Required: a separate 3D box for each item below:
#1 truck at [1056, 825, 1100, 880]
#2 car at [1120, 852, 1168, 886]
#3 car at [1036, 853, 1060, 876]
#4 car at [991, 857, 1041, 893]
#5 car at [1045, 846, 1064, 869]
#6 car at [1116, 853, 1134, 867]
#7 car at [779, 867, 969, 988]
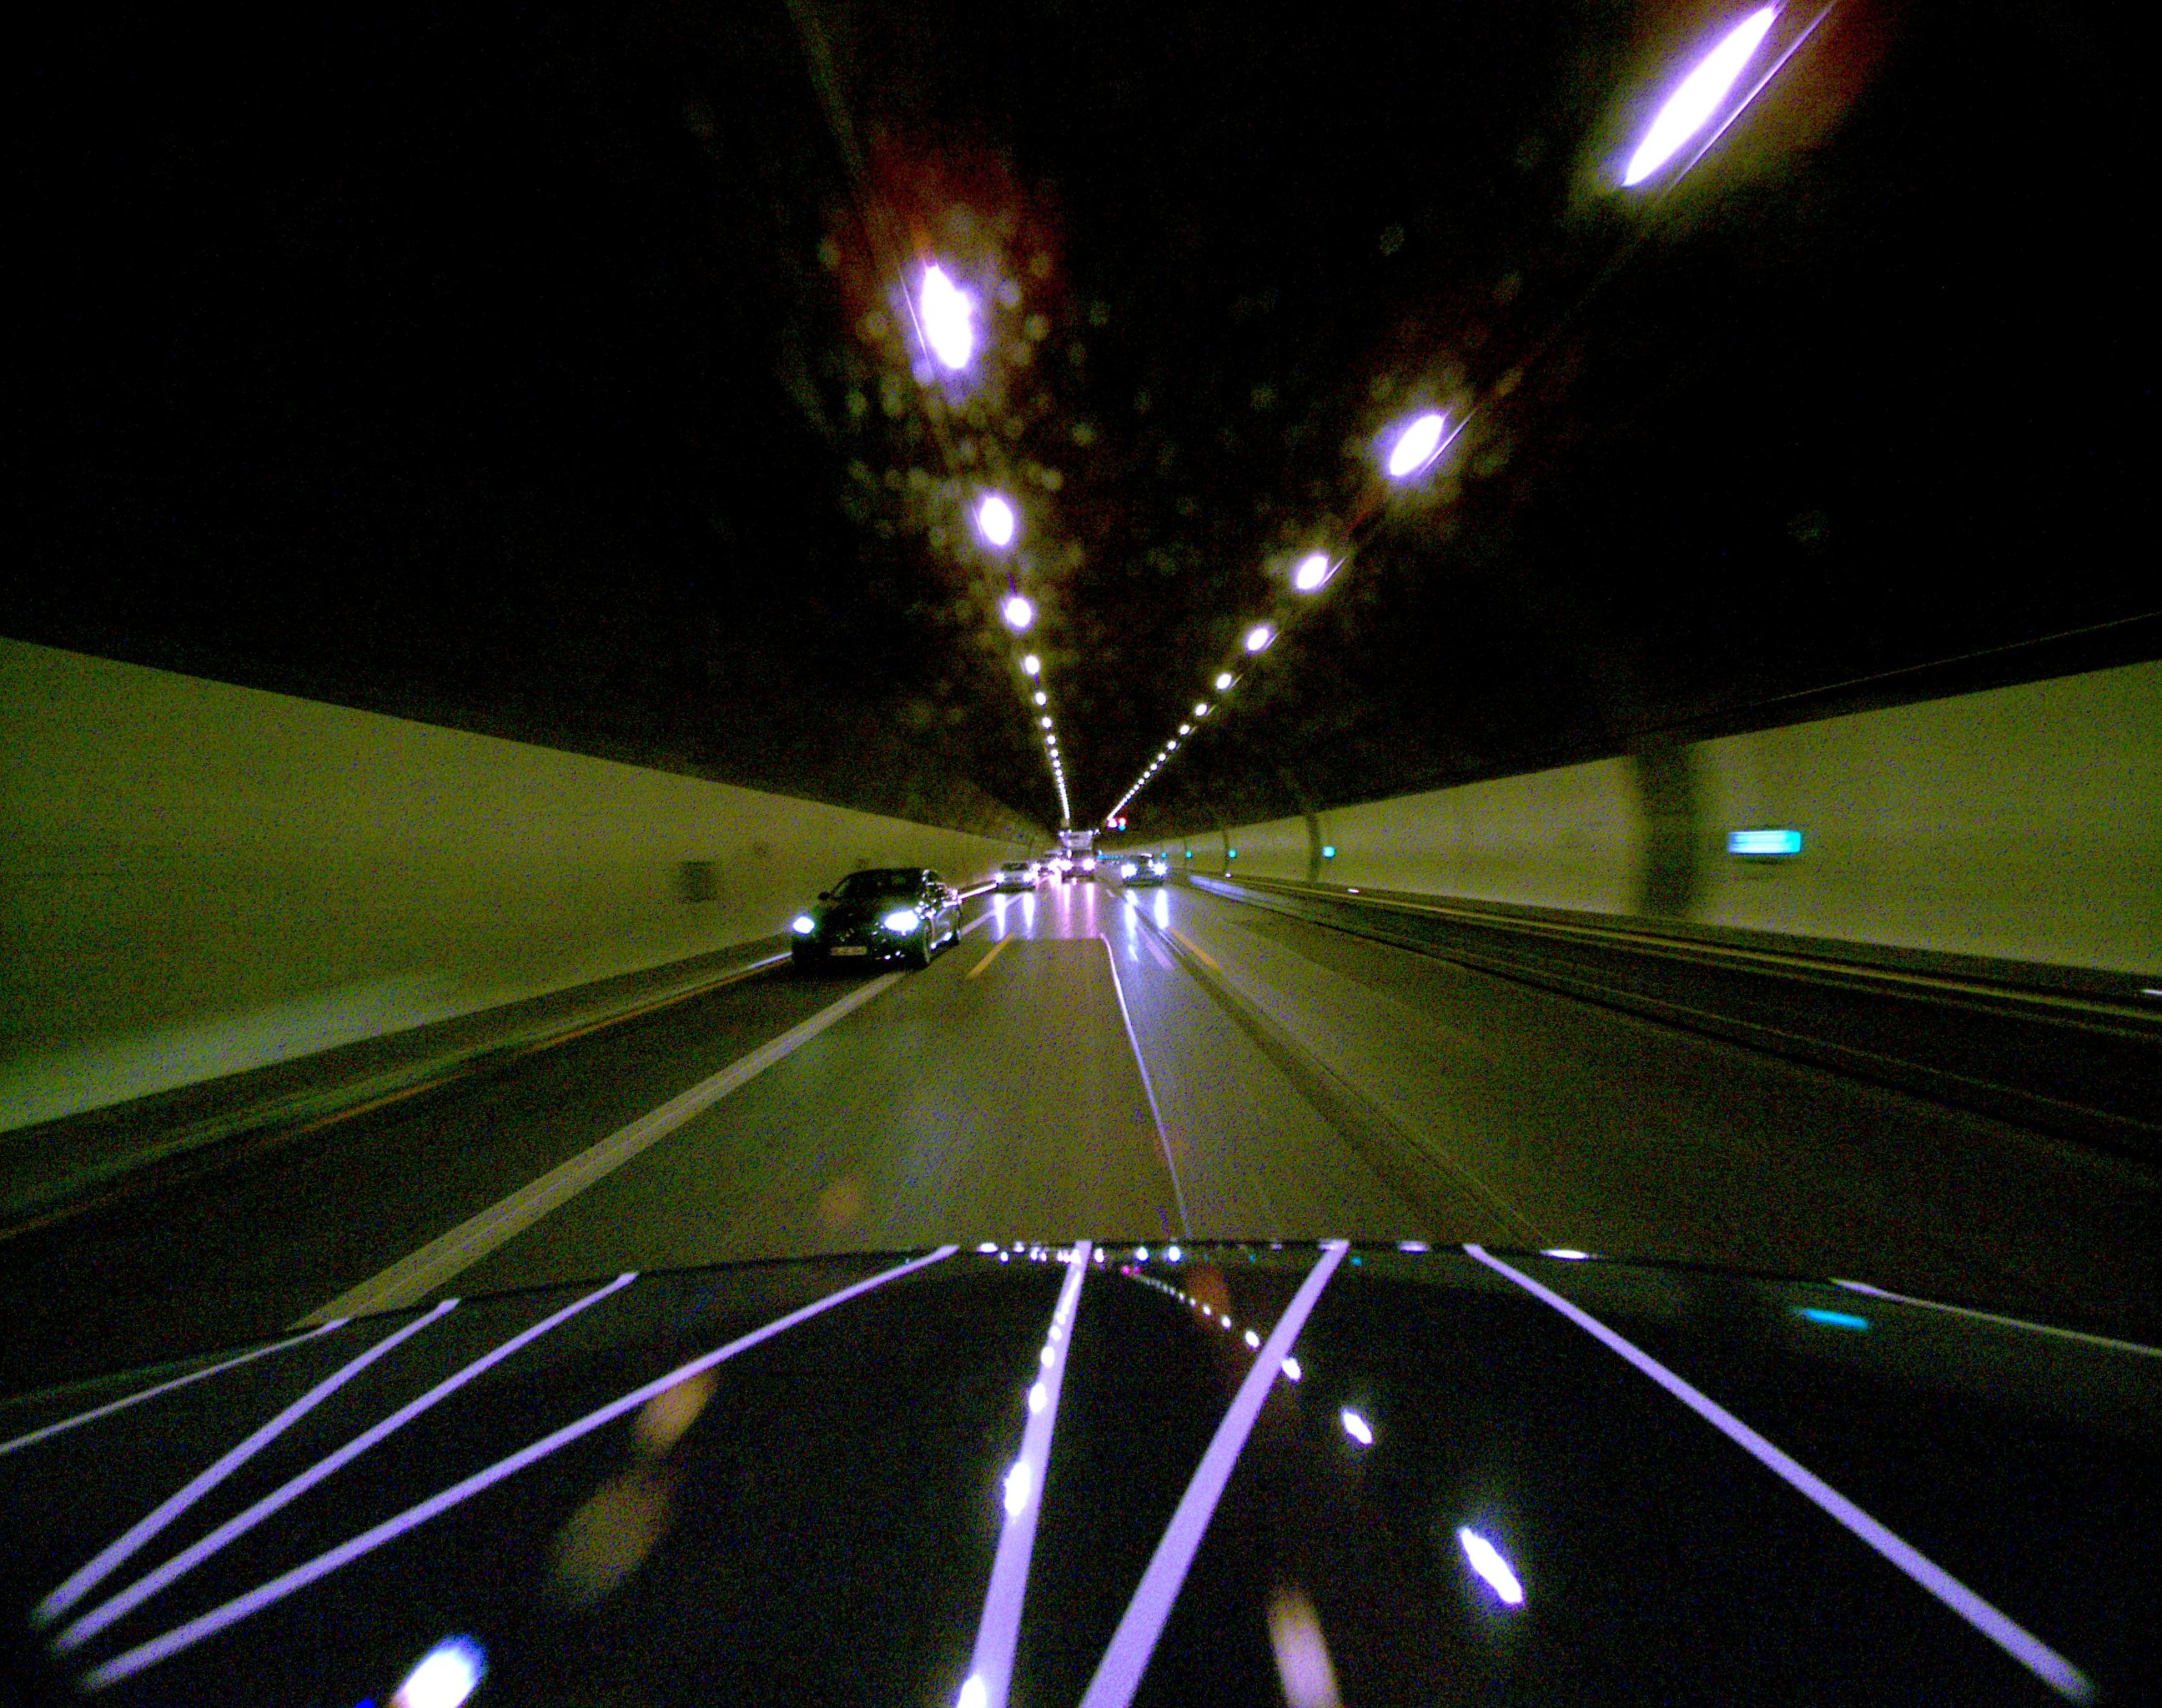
[{"bbox_3d":[-0.189,-0.082,50.705,2.533,3.314,7.715,-2,0,0],"label":"truck"},{"bbox_3d":[3.149,0.703,38.707,1.998,1.531,4.741,-2,1,0],"label":"car"},{"bbox_3d":[-3.051,0.916,70.588,1.999,2.002,4.853,-2,0,-1],"label":"car"},{"bbox_3d":[-3.130,0.995,37.628,1.998,1.531,4.741,-2,1,0],"label":"car"},{"bbox_3d":[-3.235,0.412,94.123,1.998,2.710,6.273,-2,1,0],"label":"car"},{"bbox_3d":[5.439,0.766,93.735,1.998,1.531,4.851,-2,1,4],"label":"car"},{"bbox_3d":[-3.124,1.037,12.521,1.825,1.469,4.521,-2,0,0],"label":"car"}]
